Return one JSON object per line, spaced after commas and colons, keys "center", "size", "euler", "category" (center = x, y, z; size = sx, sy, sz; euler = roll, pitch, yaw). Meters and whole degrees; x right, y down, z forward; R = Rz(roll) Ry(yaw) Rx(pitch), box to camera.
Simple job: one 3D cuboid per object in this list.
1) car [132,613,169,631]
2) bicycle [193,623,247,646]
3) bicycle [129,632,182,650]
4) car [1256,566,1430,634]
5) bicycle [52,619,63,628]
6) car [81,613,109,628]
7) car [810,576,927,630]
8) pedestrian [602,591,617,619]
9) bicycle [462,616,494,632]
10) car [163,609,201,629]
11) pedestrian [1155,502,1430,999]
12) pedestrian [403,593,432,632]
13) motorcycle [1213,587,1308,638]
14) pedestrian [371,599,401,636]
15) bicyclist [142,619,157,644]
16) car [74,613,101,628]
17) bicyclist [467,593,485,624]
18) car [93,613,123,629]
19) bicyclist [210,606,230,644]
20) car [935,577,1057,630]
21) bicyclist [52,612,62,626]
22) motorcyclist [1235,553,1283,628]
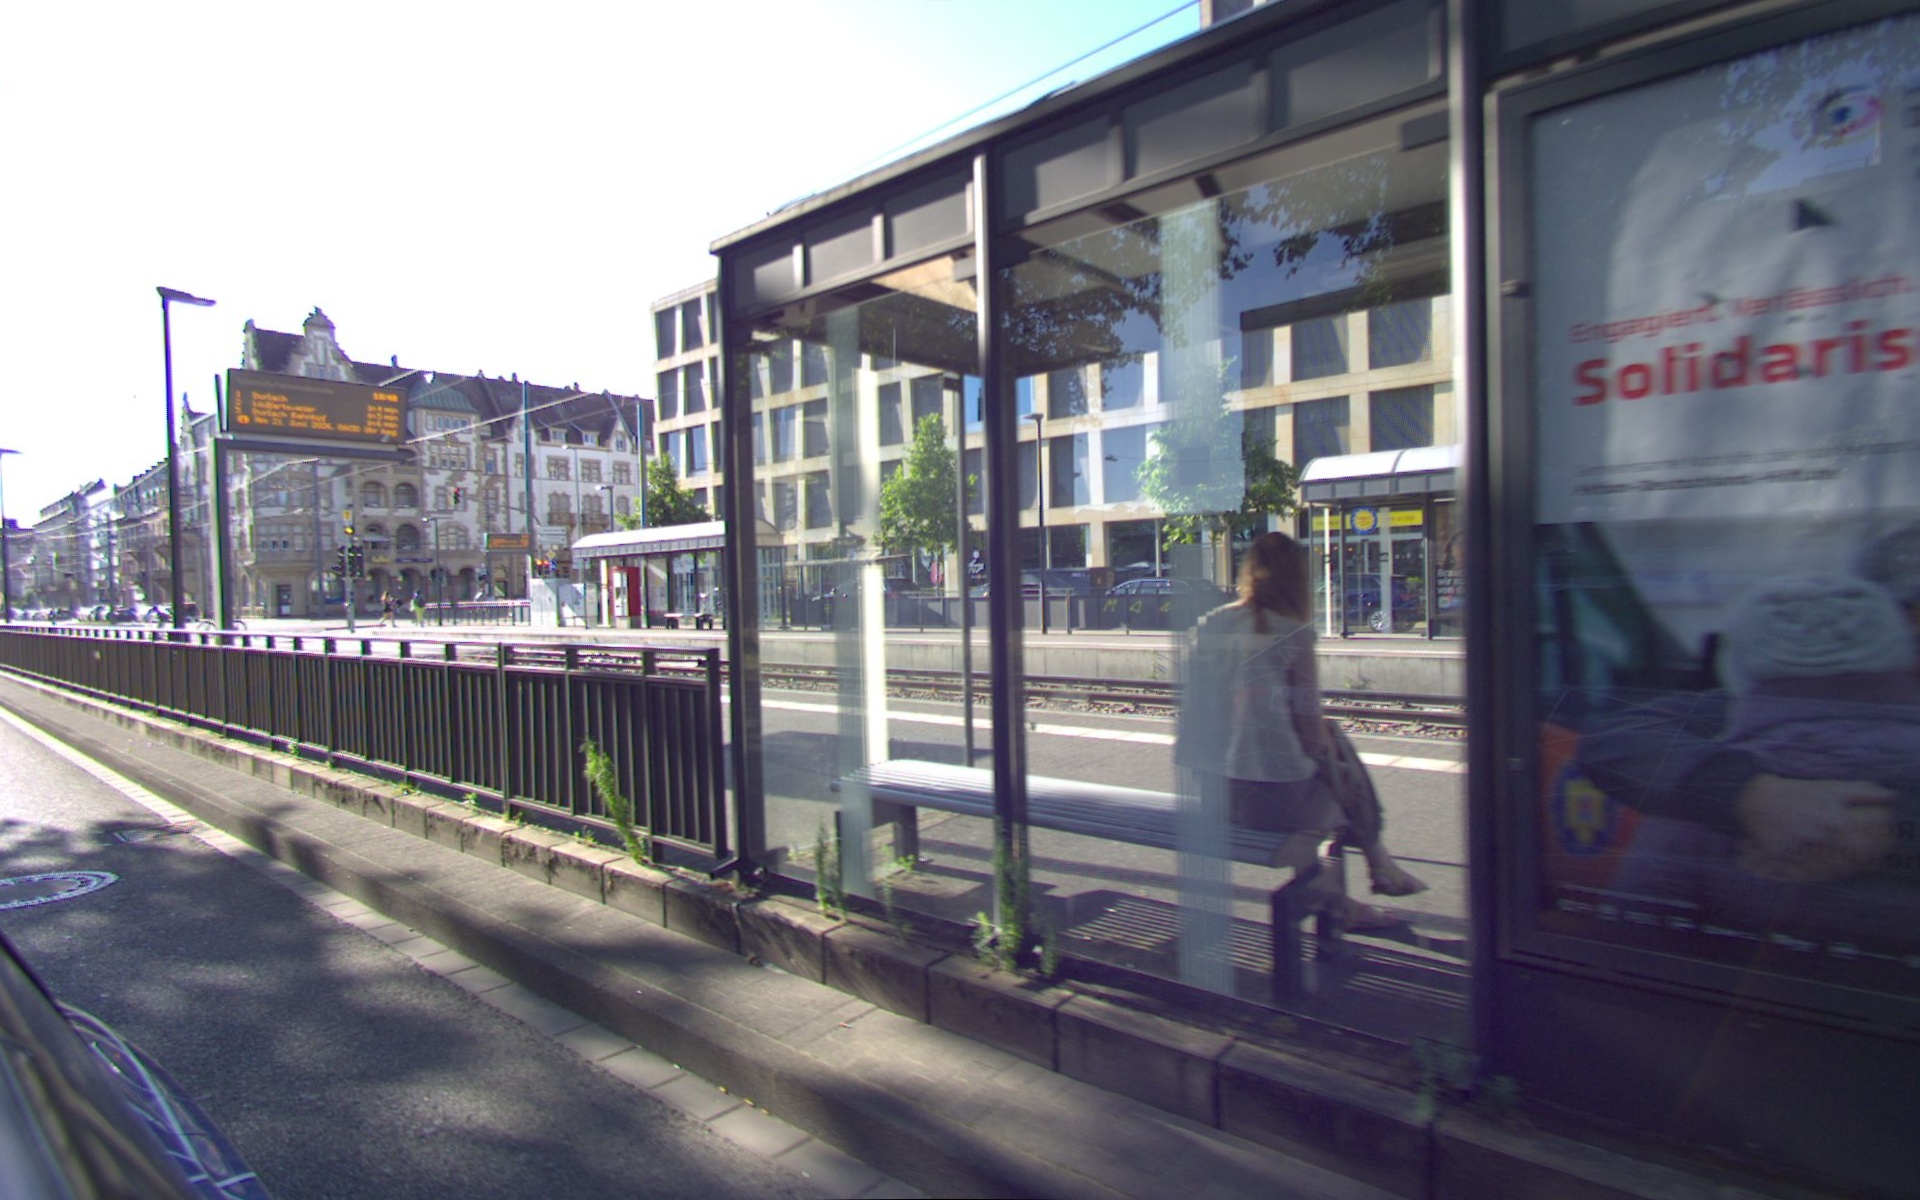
{"center": [-76.369, 2.045, 95.465], "size": [3.992, 1.536, 1.721], "euler": [-2, 2, 36], "category": "car"}
{"center": [-32.310, 1.491, 44.207], "size": [1.861, 0.884, 0.608], "euler": [-3, 1, -41], "category": "bicycle"}
{"center": [-33.682, 1.705, 42.387], "size": [1.700, 0.613, 0.512], "euler": [-4, 2, -40], "category": "bicycle"}
{"center": [9.298, 0.009, 24.681], "size": [3.599, 1.523, 1.627], "euler": [-1, 1, 42], "category": "car"}
{"center": [-101.430, 2.630, 113.763], "size": [2.066, 1.010, 0.600], "euler": [-1, 1, 39], "category": "bicycle"}
{"center": [-94.291, 2.245, 110.270], "size": [3.998, 1.536, 1.719], "euler": [-1, 2, 41], "category": "car"}
{"center": [-3.291, 0.125, 36.016], "size": [3.999, 1.782, 1.898], "euler": [-1, 1, 42], "category": "car"}
{"center": [-22.132, 0.311, 63.848], "size": [0.639, 1.694, 0.609], "euler": [-1, 1, 38], "category": "pedestrian"}
{"center": [-28.991, 1.446, 60.929], "size": [0.510, 0.918, 1.875], "euler": [-1, 1, 21], "category": "bicycle"}
{"center": [-67.903, 1.648, 88.359], "size": [3.996, 1.682, 1.758], "euler": [-2, 1, 40], "category": "car"}
{"center": [1.023, 0.383, 3.065], "size": [0.524, 1.283, 0.734], "euler": [-1, 1, 41], "category": "pedestrian"}
{"center": [-23.363, 0.536, 43.600], "size": [0.933, 1.656, 0.785], "euler": [-1, 1, 42], "category": "pedestrian"}
{"center": [6.363, 0.272, 21.480], "size": [1.841, 1.029, 0.598], "euler": [-1, 1, 42], "category": "motorcycle"}
{"center": [-27.031, 0.817, 47.686], "size": [0.792, 1.656, 0.924], "euler": [-2, 1, 28], "category": "pedestrian"}
{"center": [-33.841, 1.315, 42.230], "size": [0.456, 1.001, 0.512], "euler": [-2, 1, -39], "category": "bicyclist"}
{"center": [-98.189, 2.278, 113.857], "size": [3.998, 1.536, 1.719], "euler": [-1, 2, 41], "category": "car"}
{"center": [-29.062, 0.515, 60.738], "size": [0.643, 1.821, 0.663], "euler": [-2, 0, 23], "category": "bicyclist"}
{"center": [-89.556, 2.193, 106.339], "size": [3.998, 1.536, 1.719], "euler": [-1, 2, 41], "category": "car"}
{"center": [-32.300, 1.095, 44.172], "size": [0.620, 1.630, 0.685], "euler": [-2, 1, -41], "category": "bicyclist"}
{"center": [1.099, 0.123, 31.938], "size": [3.649, 1.573, 1.627], "euler": [-1, 1, 42], "category": "car"}
{"center": [-101.510, 2.141, 113.771], "size": [0.629, 1.630, 0.675], "euler": [-1, 1, 38], "category": "bicyclist"}
{"center": [6.347, -0.203, 21.469], "size": [0.765, 1.545, 0.569], "euler": [-1, 1, 42], "category": "motorcyclist"}
